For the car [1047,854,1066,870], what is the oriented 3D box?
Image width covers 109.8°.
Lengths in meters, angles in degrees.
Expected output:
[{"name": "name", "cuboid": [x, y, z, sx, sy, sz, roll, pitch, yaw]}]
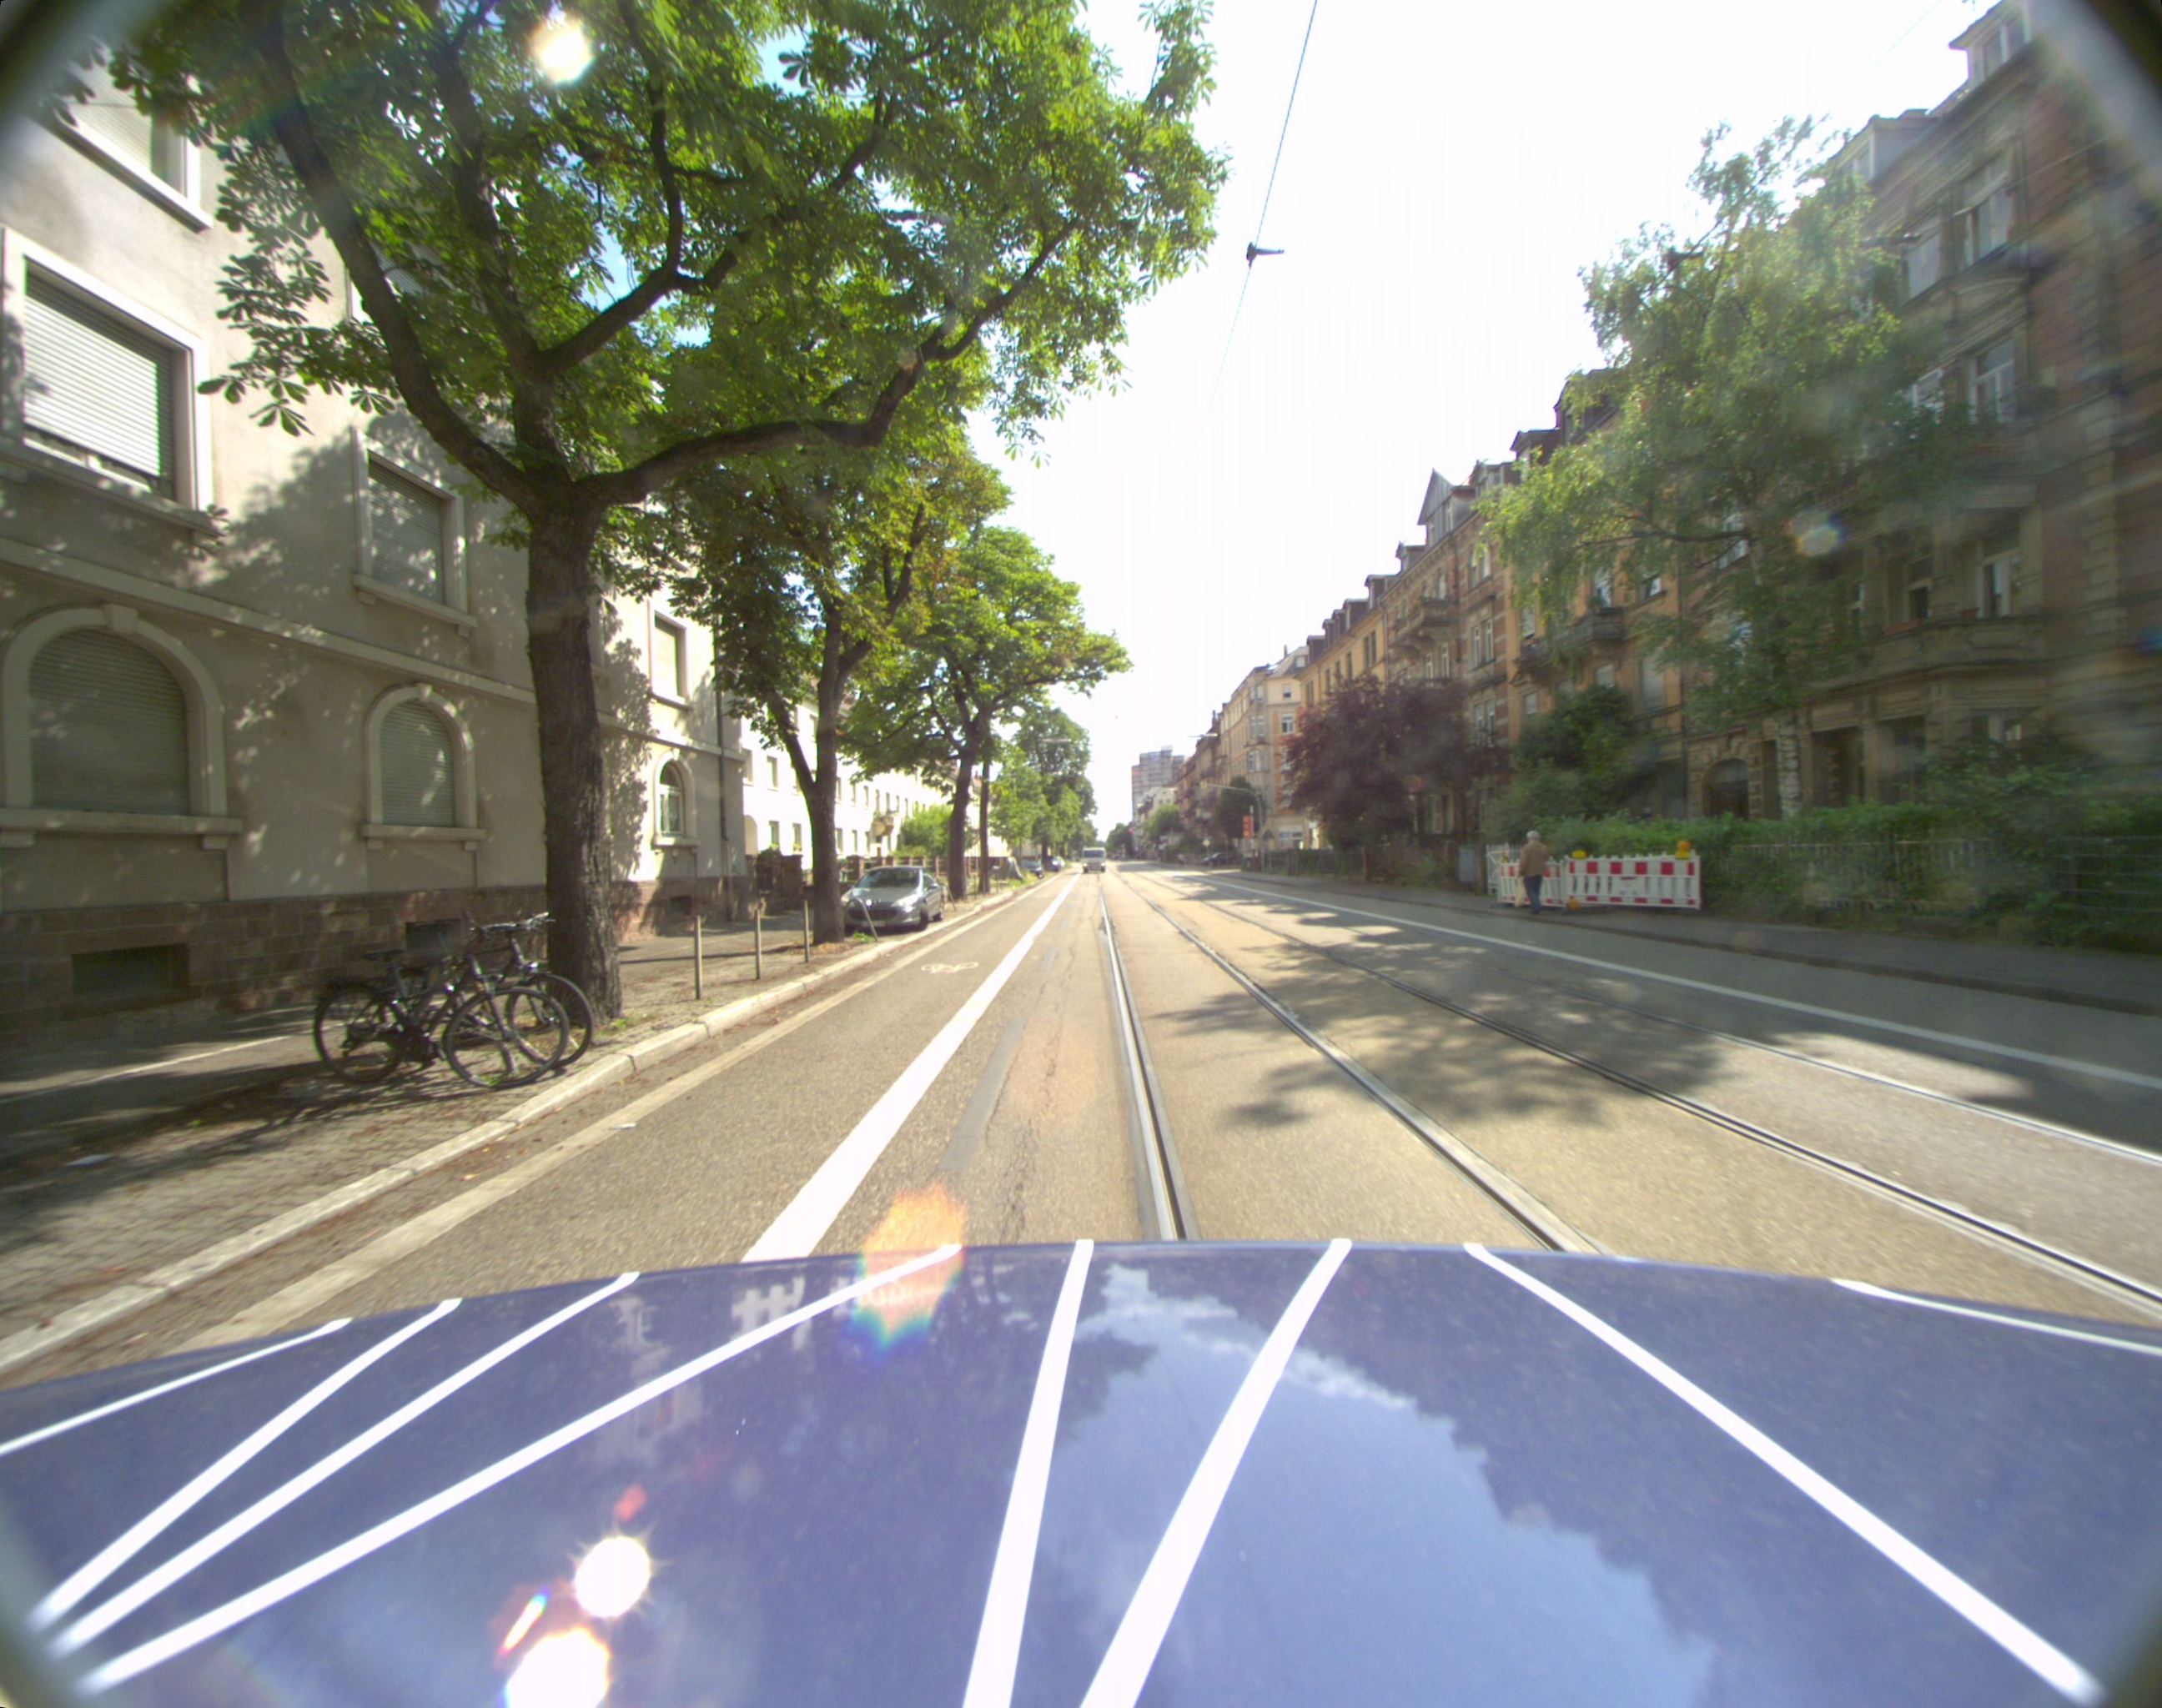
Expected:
[{"name": "car", "cuboid": [-2.786, 0.871, 86.251, 1.867, 1.643, 4.637, -2, 0, 1]}]

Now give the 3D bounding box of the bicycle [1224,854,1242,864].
[{"name": "bicycle", "cuboid": [15.824, 0.509, 79.201, 1.759, 1.057, 0.524, -2, 0, -5]}]

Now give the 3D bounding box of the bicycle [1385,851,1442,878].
[{"name": "bicycle", "cuboid": [13.526, 0.433, 30.930, 2.211, 1.013, 0.467, -2, 1, -9]}]

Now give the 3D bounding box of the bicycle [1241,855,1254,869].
[{"name": "bicycle", "cuboid": [11.989, 0.585, 54.788, 0.531, 0.941, 1.968, -2, 0, 1]}]

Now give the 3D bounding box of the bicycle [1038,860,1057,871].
[{"name": "bicycle", "cuboid": [-3.183, 1.064, 71.297, 1.712, 1.001, 0.638, -1, 0, 1]}]

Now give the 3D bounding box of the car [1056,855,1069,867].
[{"name": "car", "cuboid": [-2.534, 0.951, 105.813, 1.665, 1.512, 4.287, -2, 0, 0]}]

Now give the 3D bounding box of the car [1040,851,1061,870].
[{"name": "car", "cuboid": [-3.054, 0.634, 76.073, 1.831, 1.772, 4.733, -1, 0, 1]}]

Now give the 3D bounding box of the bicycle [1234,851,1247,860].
[{"name": "bicycle", "cuboid": [17.915, 0.207, 85.332, 1.456, 0.971, 0.404, -1, 0, 1]}]

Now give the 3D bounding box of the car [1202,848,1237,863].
[{"name": "car", "cuboid": [15.179, 0.173, 83.325, 3.611, 1.394, 1.787, -2, 0, 5]}]

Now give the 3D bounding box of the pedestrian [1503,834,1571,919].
[{"name": "pedestrian", "cuboid": [9.425, 0.453, 15.722, 0.825, 1.696, 0.891, -2, 1, -2]}]

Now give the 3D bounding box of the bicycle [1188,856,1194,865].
[{"name": "bicycle", "cuboid": [12.774, 0.733, 88.218, 0.422, 0.971, 1.949, -2, 0, 0]}]

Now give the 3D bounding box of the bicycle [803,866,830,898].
[{"name": "bicycle", "cuboid": [-10.554, 1.104, 30.358, 0.413, 1.204, 1.704, -2, 0, 2]}]

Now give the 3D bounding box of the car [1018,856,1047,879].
[{"name": "car", "cuboid": [-3.534, 0.990, 56.233, 1.710, 1.470, 4.196, -4, 0, 1]}]

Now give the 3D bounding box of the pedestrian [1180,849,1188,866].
[{"name": "pedestrian", "cuboid": [10.585, 0.363, 77.930, 0.534, 1.750, 1.106, -4, 0, 1]}]

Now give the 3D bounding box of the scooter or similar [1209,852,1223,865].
[{"name": "scooter or similar", "cuboid": [13.572, 0.454, 76.541, 1.367, 1.228, 0.403, -3, 1, -27]}]

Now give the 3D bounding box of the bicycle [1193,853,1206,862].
[{"name": "bicycle", "cuboid": [13.271, 0.411, 85.015, 1.456, 0.971, 0.404, -1, 0, 1]}]

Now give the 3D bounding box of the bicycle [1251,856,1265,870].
[{"name": "bicycle", "cuboid": [11.929, 0.612, 51.250, 0.531, 0.941, 1.968, -2, 0, 1]}]

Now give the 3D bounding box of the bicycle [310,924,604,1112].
[{"name": "bicycle", "cuboid": [-4.471, 1.124, 5.460, 1.940, 1.169, 0.513, -1, 1, 13]}]

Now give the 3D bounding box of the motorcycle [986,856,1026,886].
[{"name": "motorcycle", "cuboid": [-4.069, 0.935, 41.099, 2.380, 1.588, 0.680, -1, 1, 44]}]

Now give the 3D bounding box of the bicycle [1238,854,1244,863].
[{"name": "bicycle", "cuboid": [16.143, 0.461, 76.701, 0.524, 0.833, 1.700, -2, -1, 14]}]

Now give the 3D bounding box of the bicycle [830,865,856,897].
[{"name": "bicycle", "cuboid": [-9.597, 1.075, 30.704, 0.413, 1.204, 1.704, -2, 0, 2]}]

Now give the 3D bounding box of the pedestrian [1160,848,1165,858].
[{"name": "pedestrian", "cuboid": [13.309, -0.149, 124.214, 0.489, 1.693, 1.151, -2, 0, -1]}]

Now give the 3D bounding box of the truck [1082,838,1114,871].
[{"name": "truck", "cuboid": [1.428, 0.046, 67.716, 2.532, 2.722, 6.514, -2, 0, -1]}]

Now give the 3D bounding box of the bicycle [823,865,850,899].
[{"name": "bicycle", "cuboid": [-9.299, 1.049, 28.957, 0.413, 1.204, 1.704, -2, 0, 2]}]

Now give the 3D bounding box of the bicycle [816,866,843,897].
[{"name": "bicycle", "cuboid": [-10.126, 1.088, 30.636, 0.413, 1.204, 1.704, -2, 0, 2]}]

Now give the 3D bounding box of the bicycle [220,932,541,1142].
[{"name": "bicycle", "cuboid": [-4.555, 1.132, 4.952, 1.897, 1.169, 0.513, -1, 1, 13]}]

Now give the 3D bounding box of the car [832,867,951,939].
[{"name": "car", "cuboid": [-4.325, 1.062, 18.034, 1.851, 1.401, 4.393, 0, 0, -2]}]
